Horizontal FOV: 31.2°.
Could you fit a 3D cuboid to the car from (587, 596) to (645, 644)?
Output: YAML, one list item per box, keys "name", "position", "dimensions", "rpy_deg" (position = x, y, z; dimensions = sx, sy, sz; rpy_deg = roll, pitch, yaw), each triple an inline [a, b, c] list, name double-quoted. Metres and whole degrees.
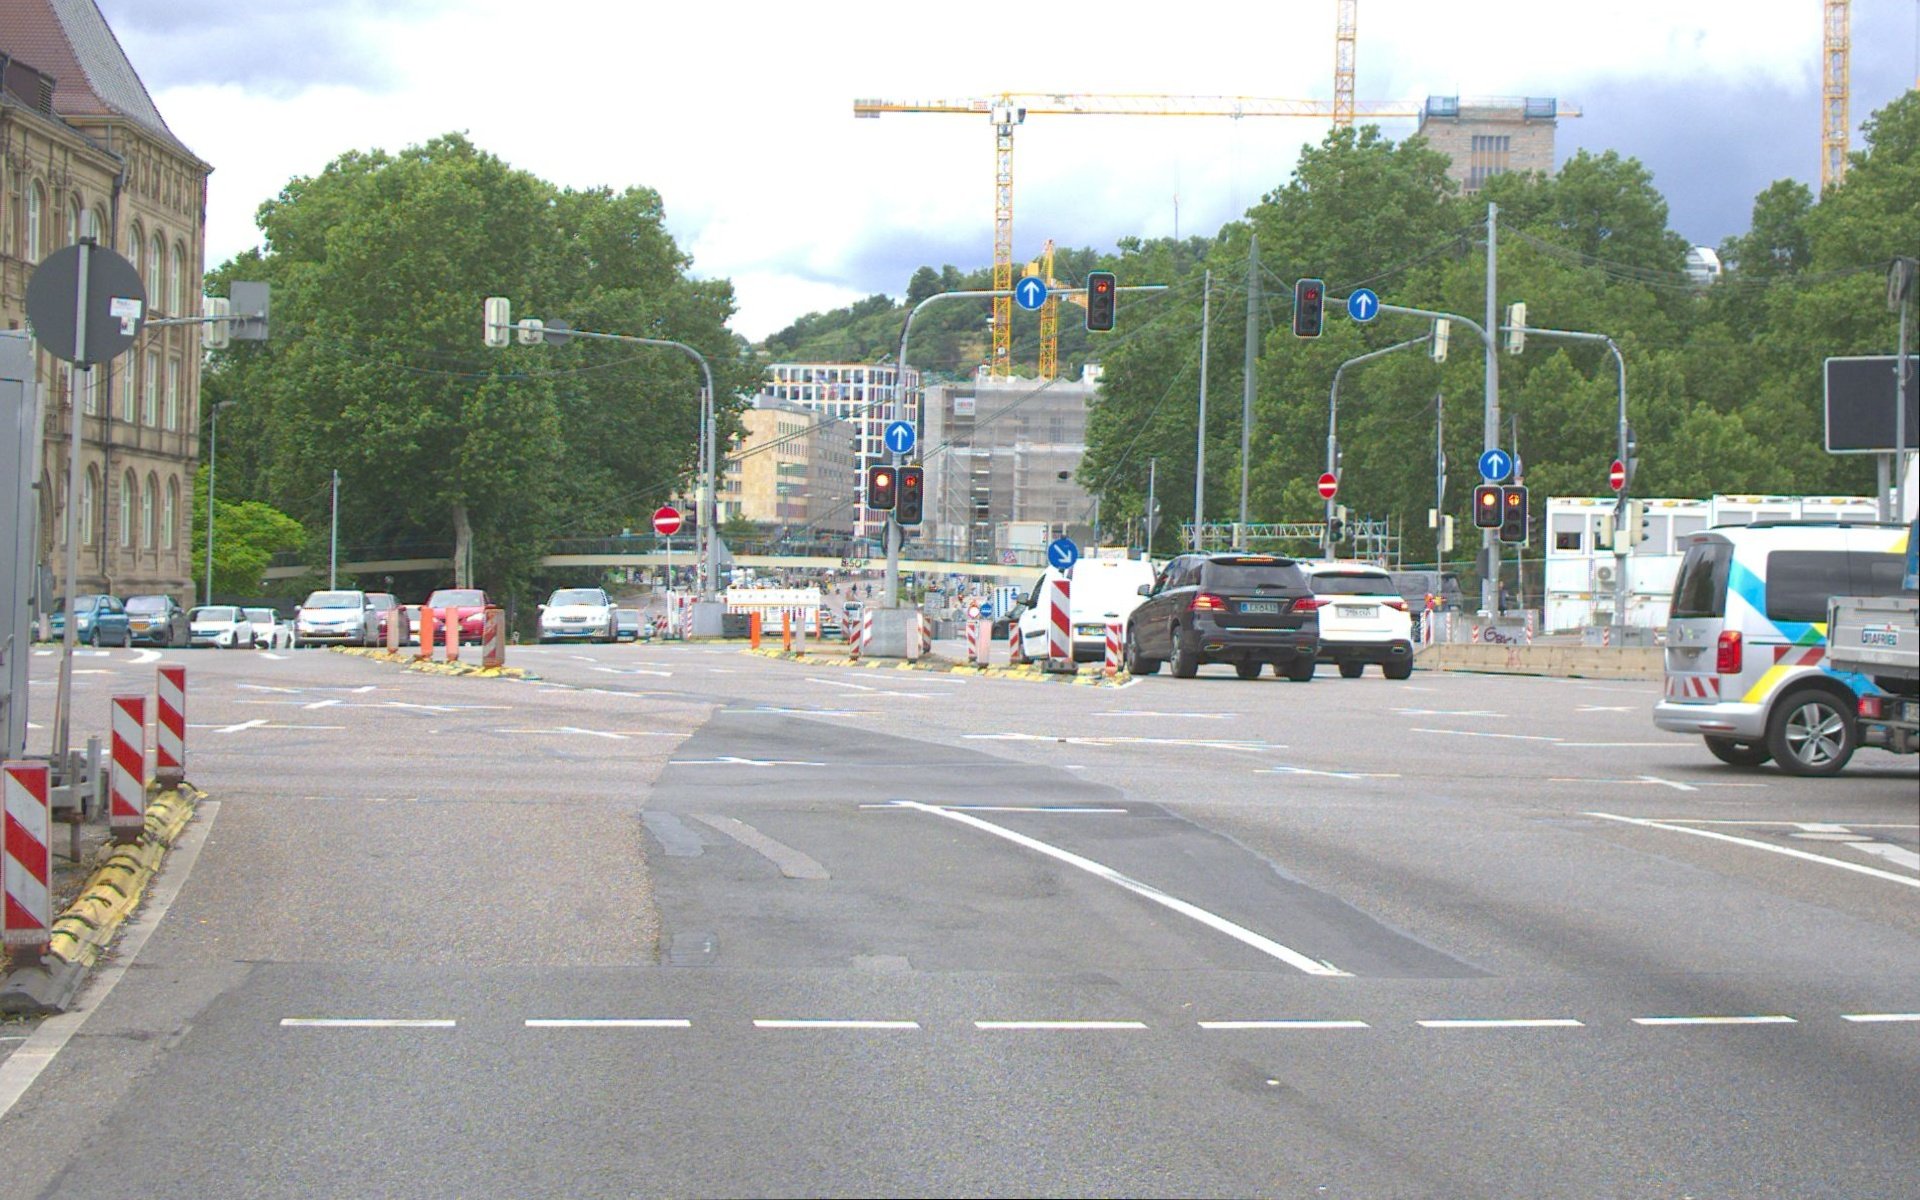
- name: "car"
  position: [-10.562, 0.603, 105.361]
  dimensions: [1.675, 1.393, 3.684]
  rpy_deg: [1, 1, -7]

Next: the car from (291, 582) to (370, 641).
- name: "car"
  position: [-15.652, 0.279, 85.624]
  dimensions: [1.675, 1.393, 3.684]
  rpy_deg: [1, 1, -7]

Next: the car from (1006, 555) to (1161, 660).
- name: "car"
  position: [1.949, 0.094, 55.526]
  dimensions: [1.816, 1.619, 4.001]
  rpy_deg: [1, 1, -8]

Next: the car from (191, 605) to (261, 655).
- name: "car"
  position: [-21.655, 0.877, 101.555]
  dimensions: [1.675, 1.393, 3.684]
  rpy_deg: [1, 1, -7]

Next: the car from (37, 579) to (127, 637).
- name: "car"
  position: [-21.955, 0.187, 86.076]
  dimensions: [1.675, 1.393, 3.684]
  rpy_deg: [1, 1, -7]

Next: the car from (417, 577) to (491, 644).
- name: "car"
  position: [-12.458, 0.241, 84.715]
  dimensions: [1.675, 1.575, 3.684]
  rpy_deg: [1, 1, -7]

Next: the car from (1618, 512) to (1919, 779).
- name: "car"
  position: [7.200, 0.332, 25.370]
  dimensions: [4.266, 1.875, 1.830]
  rpy_deg: [1, 0, -3]

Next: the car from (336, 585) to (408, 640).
- name: "car"
  position: [-15.673, 0.317, 91.786]
  dimensions: [1.675, 1.393, 3.684]
  rpy_deg: [1, 1, -7]

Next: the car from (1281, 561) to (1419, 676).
- name: "car"
  position: [5.984, 0.262, 53.047]
  dimensions: [1.676, 1.696, 3.374]
  rpy_deg: [1, 1, -1]

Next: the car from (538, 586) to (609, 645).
- name: "car"
  position: [-9.571, 0.369, 85.064]
  dimensions: [1.675, 1.393, 3.684]
  rpy_deg: [1, 1, -7]

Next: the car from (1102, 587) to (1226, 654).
- name: "car"
  position: [4.497, 0.442, 75.988]
  dimensions: [1.675, 1.393, 3.087]
  rpy_deg: [1, 1, -19]

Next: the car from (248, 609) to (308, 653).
- name: "car"
  position: [-22.878, 1.022, 115.443]
  dimensions: [1.675, 1.393, 3.684]
  rpy_deg: [1, 1, -7]

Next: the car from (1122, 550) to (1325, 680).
- name: "car"
  position: [3.659, 0.180, 48.480]
  dimensions: [1.831, 1.740, 4.257]
  rpy_deg: [1, 1, -10]

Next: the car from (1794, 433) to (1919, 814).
- name: "car"
  position: [8.570, 0.164, 22.108]
  dimensions: [5.757, 2.297, 2.304]
  rpy_deg: [1, 0, -5]

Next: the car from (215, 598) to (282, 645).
- name: "car"
  position: [-22.409, 0.688, 108.408]
  dimensions: [1.675, 1.393, 3.683]
  rpy_deg: [1, -2, -6]

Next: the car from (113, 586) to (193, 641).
- name: "car"
  position: [-21.783, 0.349, 92.913]
  dimensions: [1.675, 1.393, 3.684]
  rpy_deg: [1, 1, -7]
